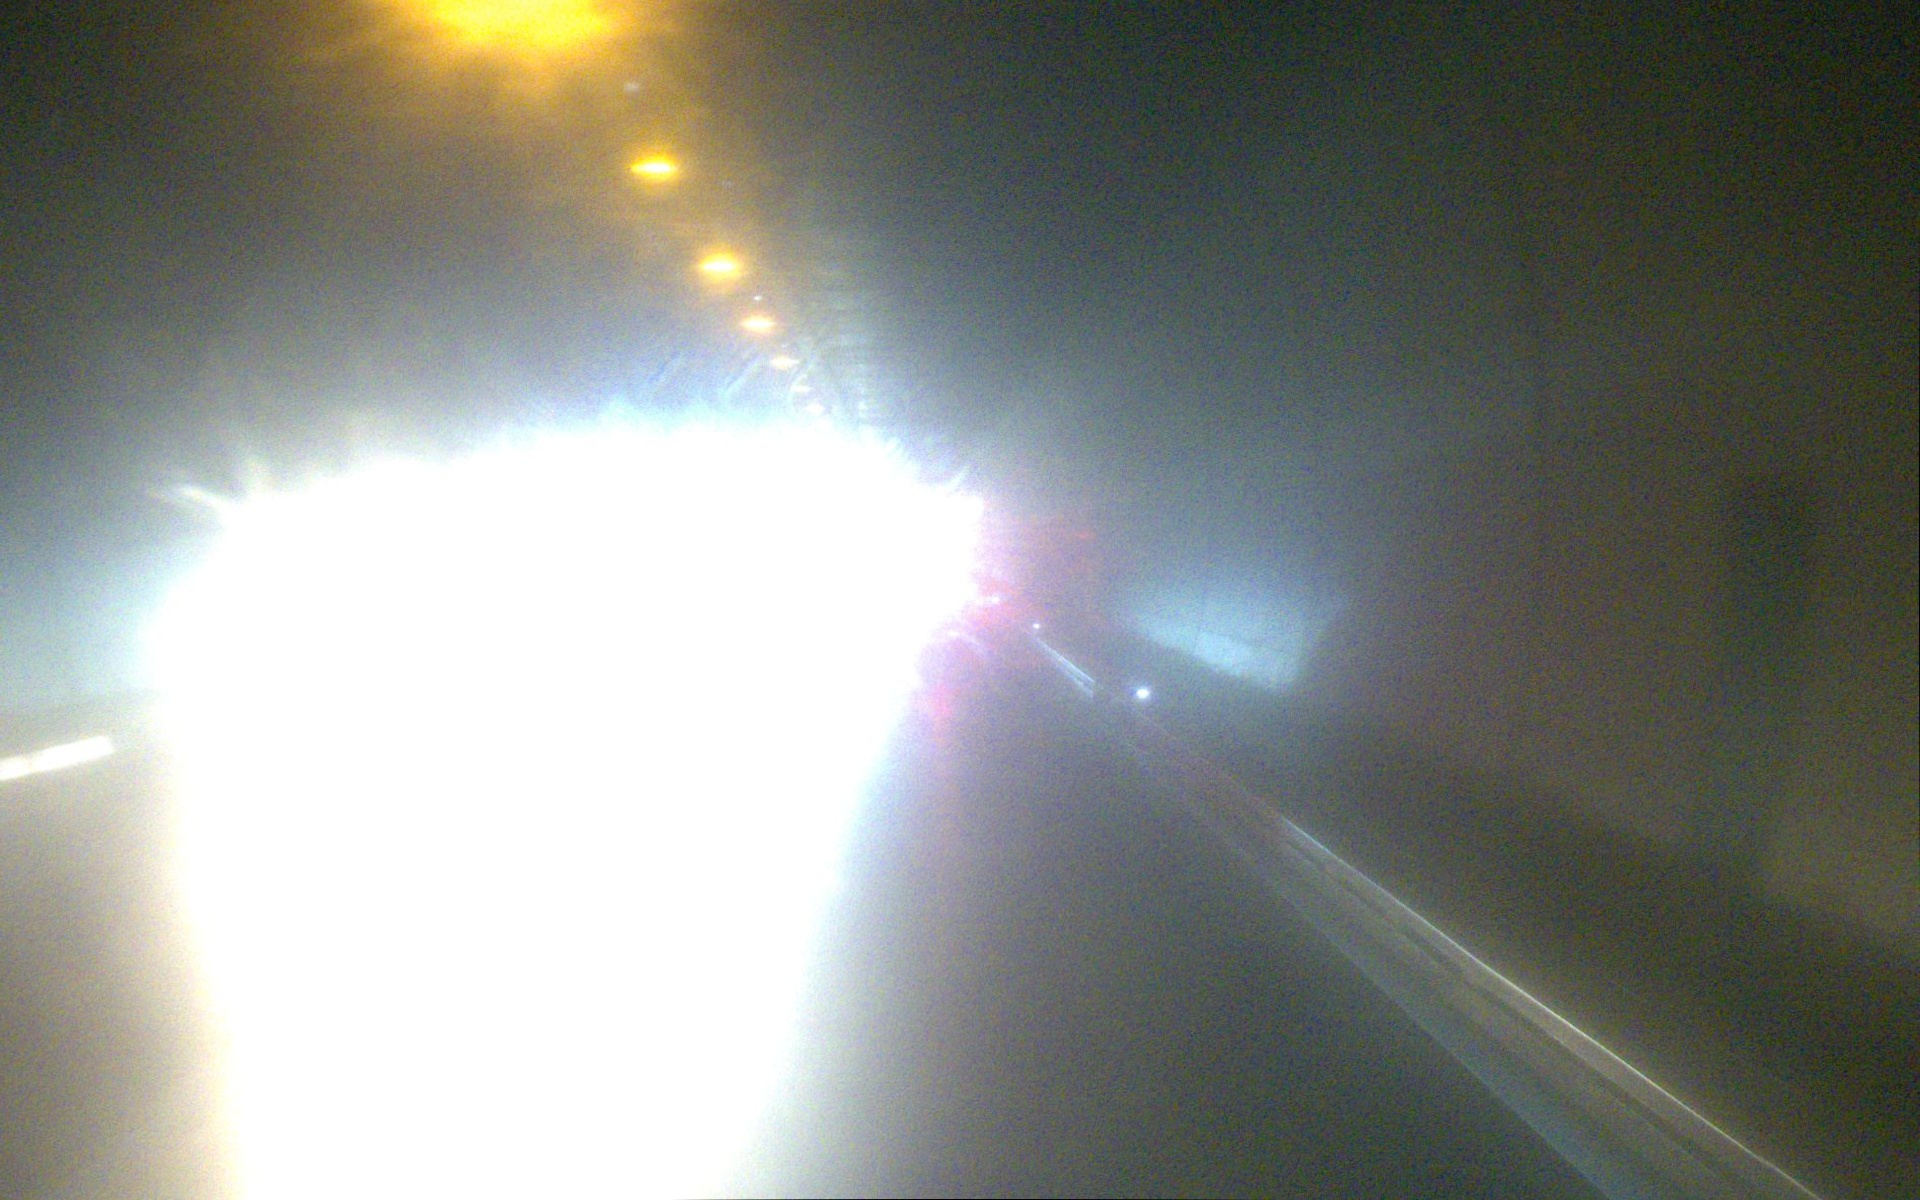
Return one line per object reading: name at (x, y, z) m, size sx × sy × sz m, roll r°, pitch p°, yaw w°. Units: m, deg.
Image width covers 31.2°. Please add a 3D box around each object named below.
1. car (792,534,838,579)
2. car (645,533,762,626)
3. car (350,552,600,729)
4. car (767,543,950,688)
car at (-6.535, -1.960, 155.065) m, size 1.993 × 2.007 × 4.000 m, roll 0°, pitch 1°, yaw -1°
car at (-4.908, -0.420, 66.318) m, size 1.993 × 1.704 × 4.281 m, roll 1°, pitch 1°, yaw -1°
car at (-4.103, 0.302, 29.573) m, size 1.690 × 1.417 × 3.625 m, roll 0°, pitch 1°, yaw -1°
car at (-1.205, 0.145, 41.465) m, size 2.089 × 1.656 × 4.000 m, roll 0°, pitch 1°, yaw -1°
